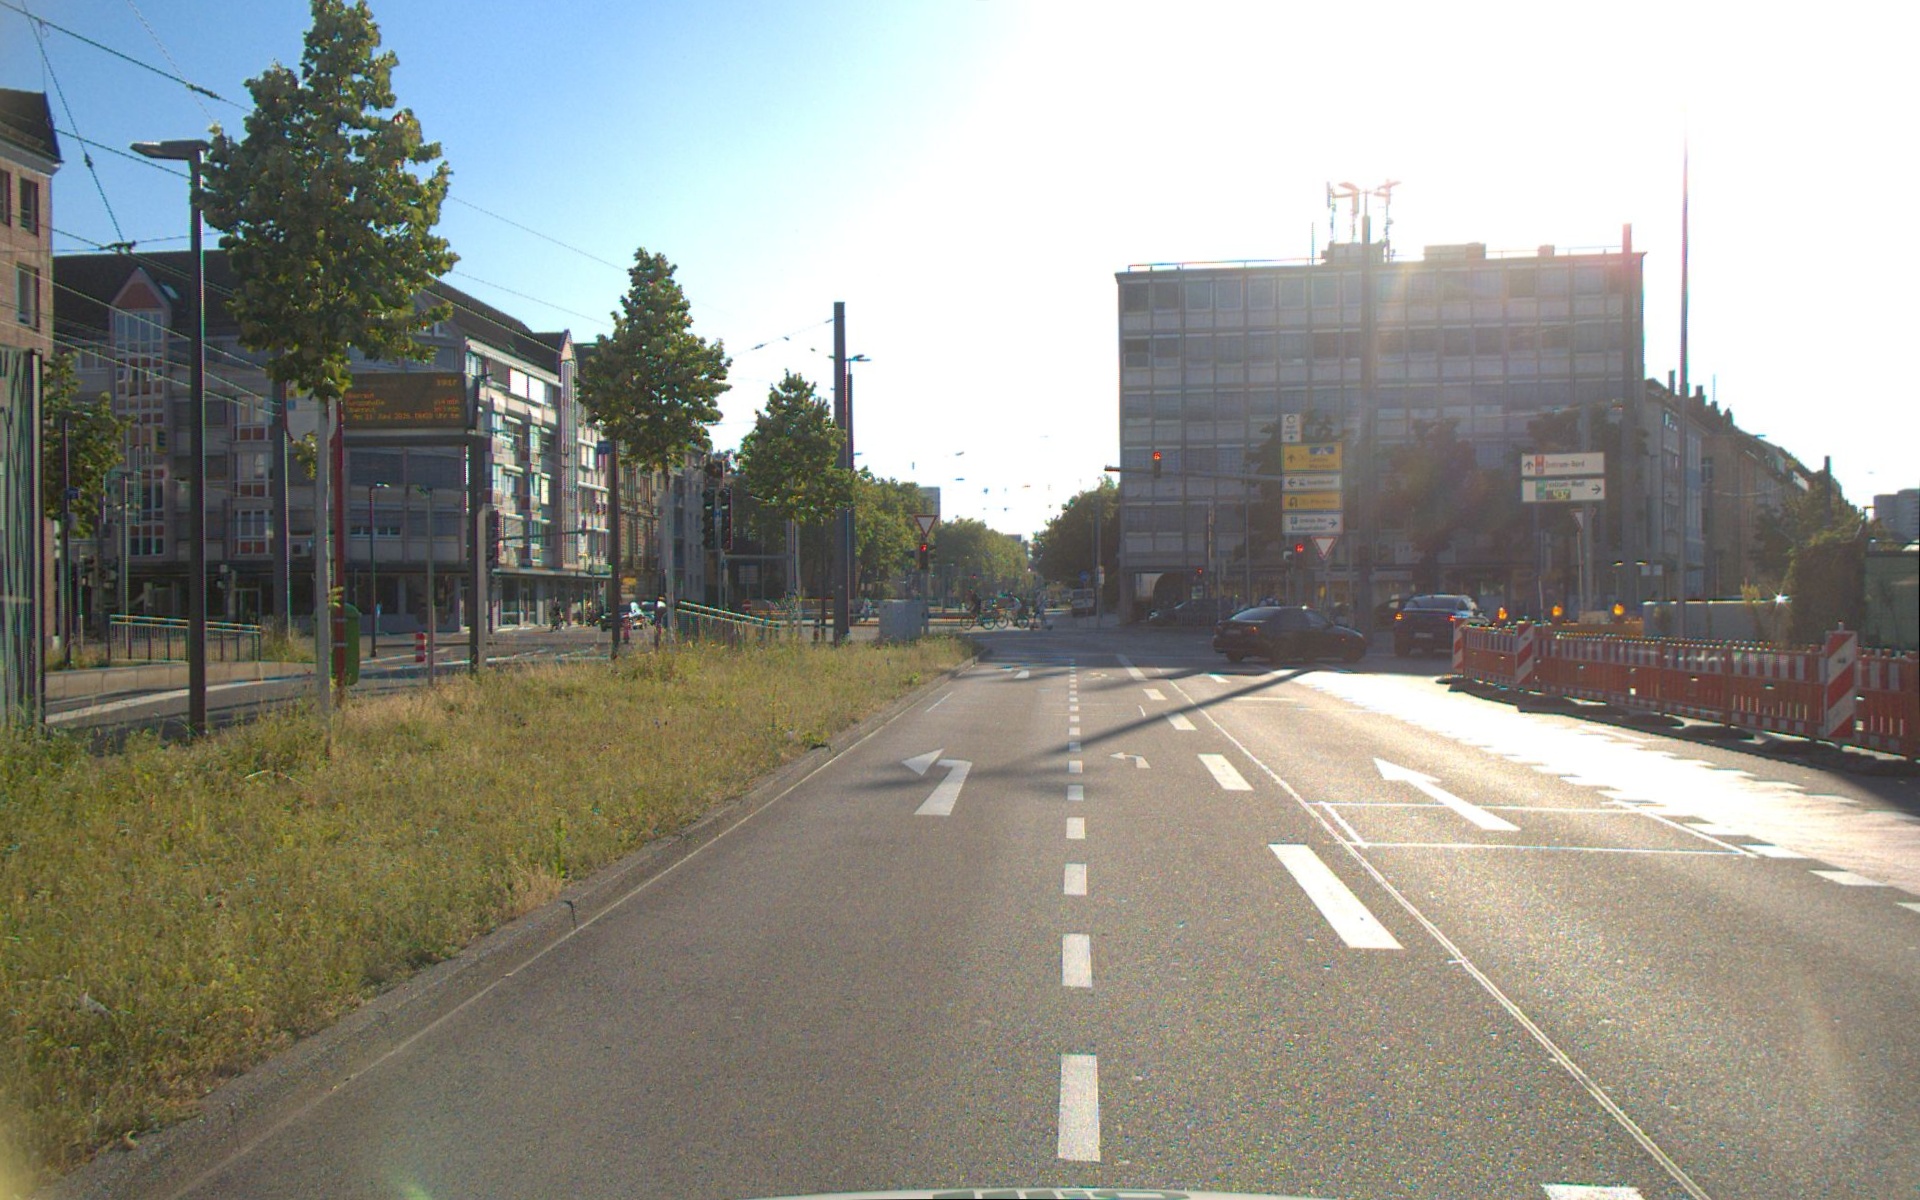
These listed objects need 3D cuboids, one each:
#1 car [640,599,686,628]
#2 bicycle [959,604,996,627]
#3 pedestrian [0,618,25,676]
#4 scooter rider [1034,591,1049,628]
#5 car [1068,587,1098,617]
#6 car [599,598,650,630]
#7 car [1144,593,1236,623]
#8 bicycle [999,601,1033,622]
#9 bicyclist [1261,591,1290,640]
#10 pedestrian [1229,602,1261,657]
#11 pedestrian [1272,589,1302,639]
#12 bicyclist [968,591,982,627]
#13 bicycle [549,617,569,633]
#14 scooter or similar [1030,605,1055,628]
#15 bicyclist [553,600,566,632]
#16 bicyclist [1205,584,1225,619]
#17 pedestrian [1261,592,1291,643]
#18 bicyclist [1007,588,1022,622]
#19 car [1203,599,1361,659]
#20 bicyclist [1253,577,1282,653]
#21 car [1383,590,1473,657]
[{"bbox_3d":[-19.765,0.897,110.266,1.951,1.892,4.003,-1,0,6],"label":"car"},{"bbox_3d":[0.858,0.765,81.616,1.741,1.091,0.534,-1,0,-6],"label":"bicycle"},{"bbox_3d":[-30.617,1.511,53.435,0.491,1.838,0.542,-1,0,31],"label":"pedestrian"},{"bbox_3d":[3.940,0.455,79.953,0.651,1.742,0.526,-1,0,-6],"label":"scooter rider"},{"bbox_3d":[10.648,0.195,143.384,2.434,2.434,5.936,-2,0,3],"label":"car"},{"bbox_3d":[-20.721,0.871,102.321,1.951,1.892,4.003,-1,0,6],"label":"car"},{"bbox_3d":[10.954,0.374,78.853,3.919,1.310,1.841,-1,0,-14],"label":"car"},{"bbox_3d":[2.920,0.614,86.515,1.698,1.078,0.539,-1,0,-6],"label":"bicycle"},{"bbox_3d":[11.000,0.529,57.695,0.938,1.690,0.691,0,0,7],"label":"bicyclist"},{"bbox_3d":[8.628,0.884,50.163,0.860,1.625,0.655,-1,0,3],"label":"pedestrian"},{"bbox_3d":[10.588,0.449,53.570,0.860,1.625,0.655,-1,0,1],"label":"pedestrian"},{"bbox_3d":[0.736,0.436,81.599,0.651,1.742,0.538,-1,0,-6],"label":"bicyclist"},{"bbox_3d":[-23.800,1.472,98.231,0.586,0.931,1.837,-1,0,5],"label":"bicycle"},{"bbox_3d":[3.990,0.786,79.958,1.149,1.091,0.529,-1,0,-6],"label":"scooter or similar"},{"bbox_3d":[-23.817,0.969,98.345,0.580,1.894,0.642,-1,0,5],"label":"bicyclist"},{"bbox_3d":[13.305,0.070,86.378,0.880,1.783,0.654,-1,0,-2],"label":"bicyclist"},{"bbox_3d":[10.377,0.573,54.325,0.860,1.625,0.655,-1,0,1],"label":"pedestrian"},{"bbox_3d":[2.846,0.276,86.511,0.651,1.742,0.538,-1,0,-6],"label":"bicyclist"},{"bbox_3d":[8.151,0.698,41.775,3.955,1.451,1.727,0,0,-36],"label":"car"},{"bbox_3d":[8.445,0.394,45.392,0.630,2.048,1.068,1,1,4],"label":"bicyclist"},{"bbox_3d":[13.237,0.612,46.667,1.953,1.723,3.999,1,1,23],"label":"car"}]
